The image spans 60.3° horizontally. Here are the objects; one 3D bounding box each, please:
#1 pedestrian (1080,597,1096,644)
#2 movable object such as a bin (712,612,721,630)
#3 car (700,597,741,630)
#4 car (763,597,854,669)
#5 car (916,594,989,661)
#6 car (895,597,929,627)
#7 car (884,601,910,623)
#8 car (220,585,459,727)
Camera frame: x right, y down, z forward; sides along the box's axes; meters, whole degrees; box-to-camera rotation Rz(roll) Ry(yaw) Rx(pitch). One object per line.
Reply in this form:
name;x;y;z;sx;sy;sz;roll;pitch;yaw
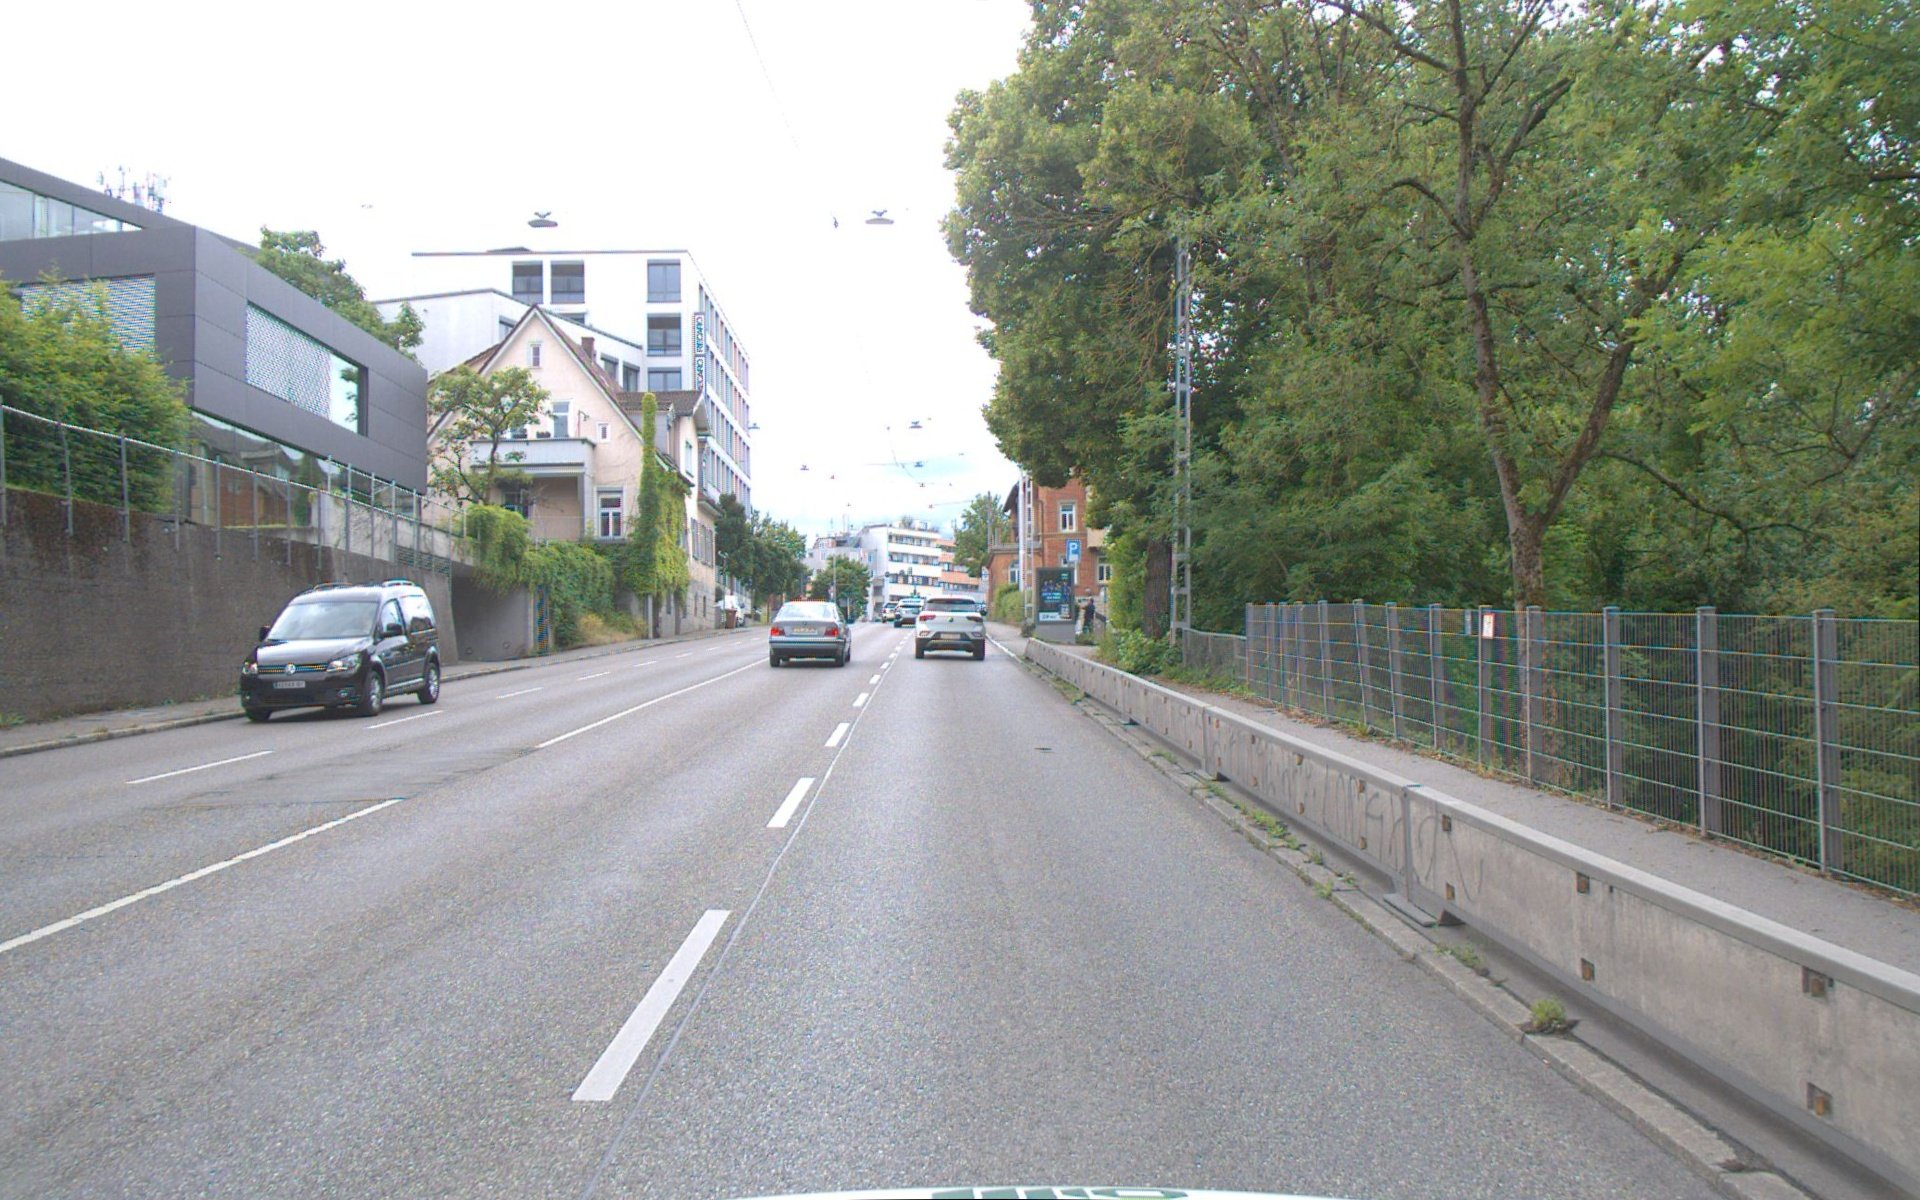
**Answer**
pedestrian;4.792;0.753;61.949;0.499;1.747;0.465;-1;0;-3
movable object such as a bin;-12.888;1.108;87.638;0.417;0.982;0.359;1;-2;-4
car;-13.081;0.705;90.426;1.954;1.731;3.996;-1;0;-5
car;-3.292;0.687;36.517;1.672;1.489;3.999;-1;0;-1
car;-0.229;0.663;42.083;1.744;1.607;3.998;0;0;-2
car;-2.432;0.595;84.625;1.672;1.489;3.999;-1;0;-1
car;-4.297;0.818;113.752;1.672;1.489;3.999;-1;0;-1
car;-8.839;0.727;23.992;1.779;1.815;4.494;-2;0;-1
